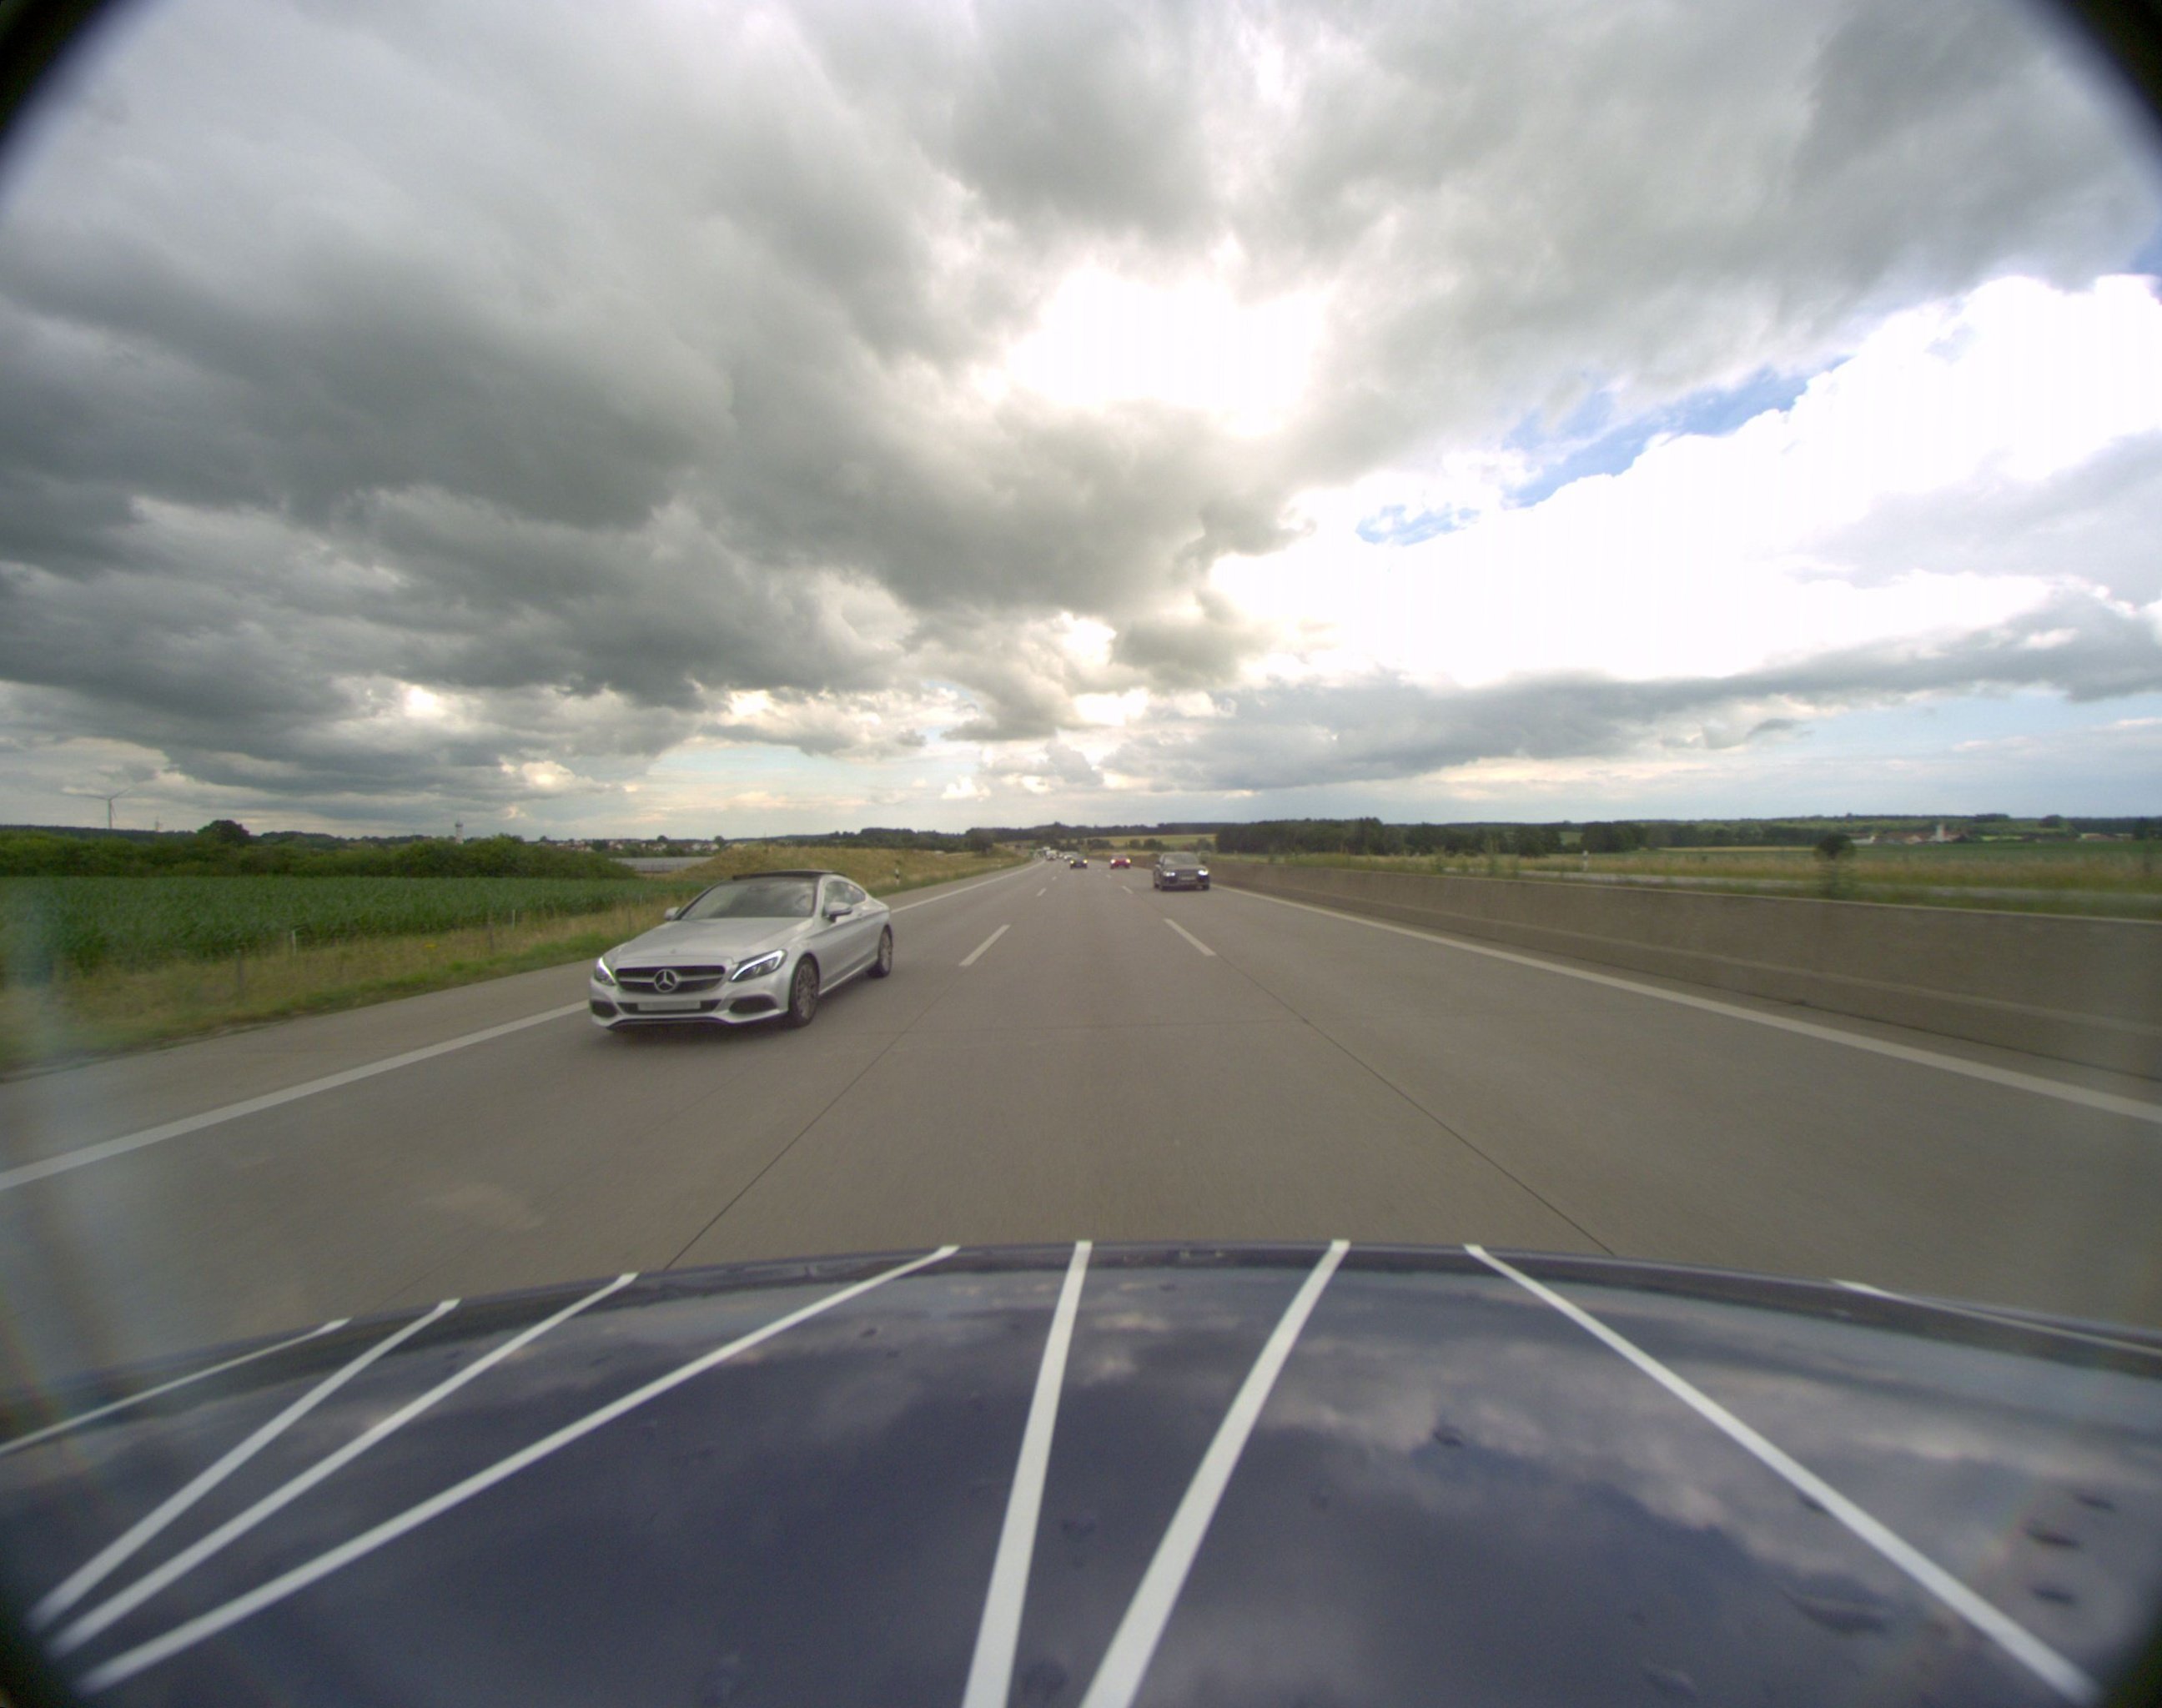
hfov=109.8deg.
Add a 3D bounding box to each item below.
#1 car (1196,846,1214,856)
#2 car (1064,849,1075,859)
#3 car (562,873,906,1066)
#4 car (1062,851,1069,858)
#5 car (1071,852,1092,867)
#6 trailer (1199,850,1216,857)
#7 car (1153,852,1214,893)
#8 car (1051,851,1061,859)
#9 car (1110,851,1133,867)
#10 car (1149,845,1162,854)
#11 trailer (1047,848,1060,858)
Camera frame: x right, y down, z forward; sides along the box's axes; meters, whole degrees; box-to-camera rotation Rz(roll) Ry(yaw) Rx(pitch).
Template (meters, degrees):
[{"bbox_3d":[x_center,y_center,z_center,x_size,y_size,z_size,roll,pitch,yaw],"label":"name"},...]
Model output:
[{"bbox_3d":[19.093,-0.478,117.261,1.902,1.462,4.848,-2,1,0],"label":"car"},{"bbox_3d":[-2.358,-0.037,154.222,1.999,2.002,3.999,-2,0,-2],"label":"car"},{"bbox_3d":[-3.362,1.014,8.418,1.793,1.395,4.221,-2,1,1],"label":"car"},{"bbox_3d":[-4.698,0.035,226.798,1.810,2.002,3.840,-3,1,-5],"label":"car"},{"bbox_3d":[0.014,0.529,78.002,1.692,1.405,3.997,-2,1,-6],"label":"car"},{"bbox_3d":[18.920,-0.058,113.621,1.791,0.977,3.562,-2,1,0],"label":"trailer"},{"bbox_3d":[3.943,0.670,29.806,1.939,1.464,4.000,-2,0,1],"label":"car"},{"bbox_3d":[-6.102,0.153,183.726,1.945,1.799,5.028,-2,1,-6],"label":"car"},{"bbox_3d":[3.858,0.472,72.308,1.822,1.364,3.781,-3,1,-2],"label":"car"},{"bbox_3d":[14.097,-0.897,143.640,1.906,1.684,4.674,-2,1,0],"label":"car"},{"bbox_3d":[-6.801,-0.231,189.548,2.616,2.519,6.717,-2,1,-6],"label":"trailer"}]
